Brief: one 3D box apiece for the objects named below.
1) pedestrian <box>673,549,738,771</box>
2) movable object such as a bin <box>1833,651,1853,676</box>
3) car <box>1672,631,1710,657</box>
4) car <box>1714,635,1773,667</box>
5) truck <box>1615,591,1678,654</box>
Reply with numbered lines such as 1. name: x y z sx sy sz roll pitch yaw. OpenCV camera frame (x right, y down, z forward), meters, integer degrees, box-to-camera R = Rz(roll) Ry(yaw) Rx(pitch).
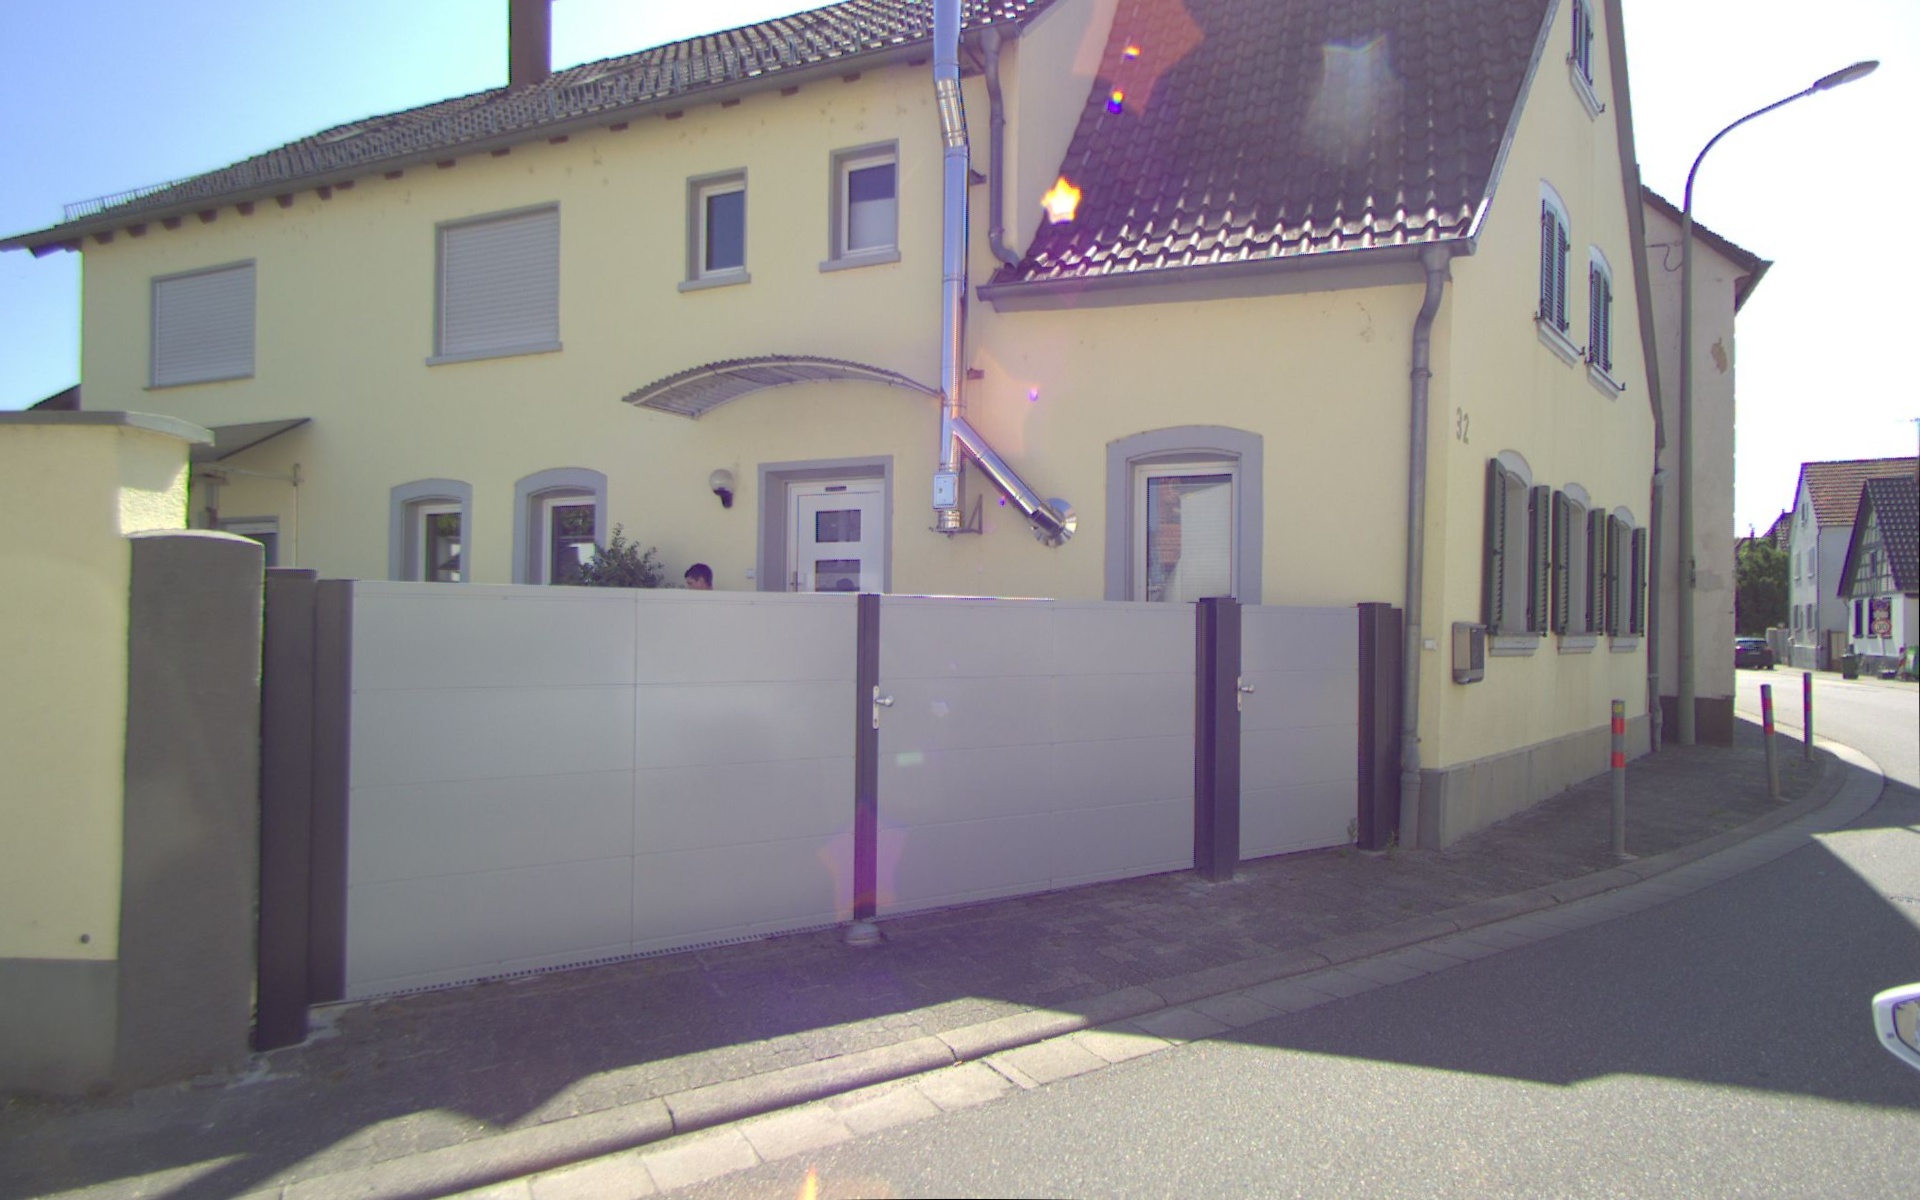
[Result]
1. pedestrian: -1.962 0.458 7.777 0.398 1.666 0.446 1 -1 -8
2. movable object such as a bin: 34.488 2.468 39.231 0.548 0.925 0.533 2 -2 -43
3. car: 48.973 2.924 67.324 1.769 1.652 4.349 0 -1 33
4. car: 41.014 2.629 52.689 1.771 1.580 4.623 0 -2 30
5. truck: 44.568 1.486 65.416 2.657 3.800 10.847 0 -1 31
